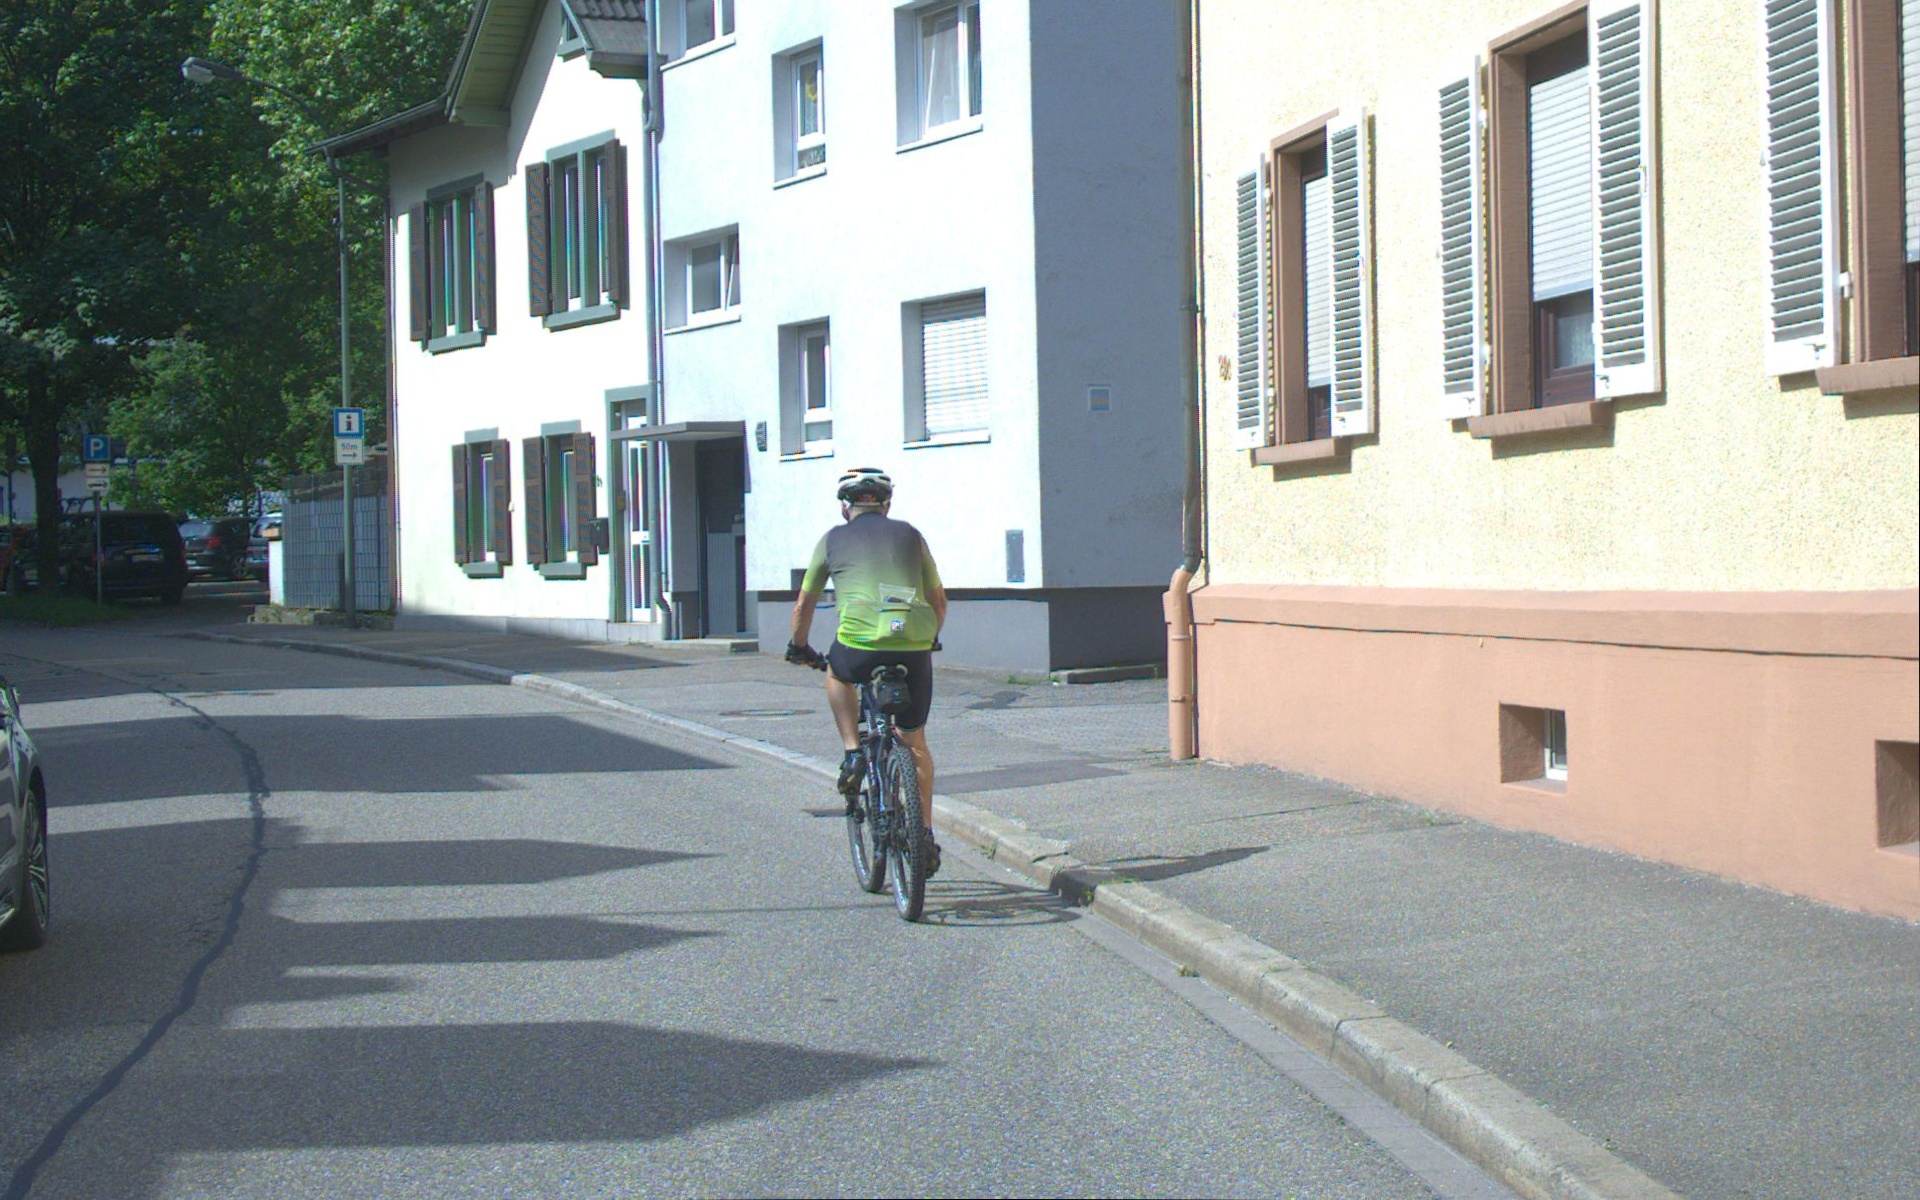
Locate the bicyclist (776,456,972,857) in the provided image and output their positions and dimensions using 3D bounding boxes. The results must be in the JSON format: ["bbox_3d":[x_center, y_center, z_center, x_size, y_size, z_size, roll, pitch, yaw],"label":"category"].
[{"bbox_3d":[-0.349,0.214,13.605,0.685,1.526,0.716,-2,1,-6],"label":"bicyclist"}]

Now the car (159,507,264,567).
[{"bbox_3d":[-16.678,-1.394,76.504,1.582,1.253,3.858,-2,2,-22],"label":"car"}]

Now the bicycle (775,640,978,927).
[{"bbox_3d":[-0.354,0.703,13.699,0.698,1.032,1.471,0,1,-6],"label":"bicycle"}]

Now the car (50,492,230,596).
[{"bbox_3d":[-15.100,-1.060,63.174,1.823,1.785,4.000,-3,3,-35],"label":"car"}]

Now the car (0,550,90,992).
[{"bbox_3d":[-4.021,0.630,11.119,1.658,1.444,4.260,-4,2,-6],"label":"car"}]

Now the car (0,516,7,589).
[{"bbox_3d":[-21.801,-1.023,73.035,1.709,1.537,4.000,-3,3,-35],"label":"car"}]
